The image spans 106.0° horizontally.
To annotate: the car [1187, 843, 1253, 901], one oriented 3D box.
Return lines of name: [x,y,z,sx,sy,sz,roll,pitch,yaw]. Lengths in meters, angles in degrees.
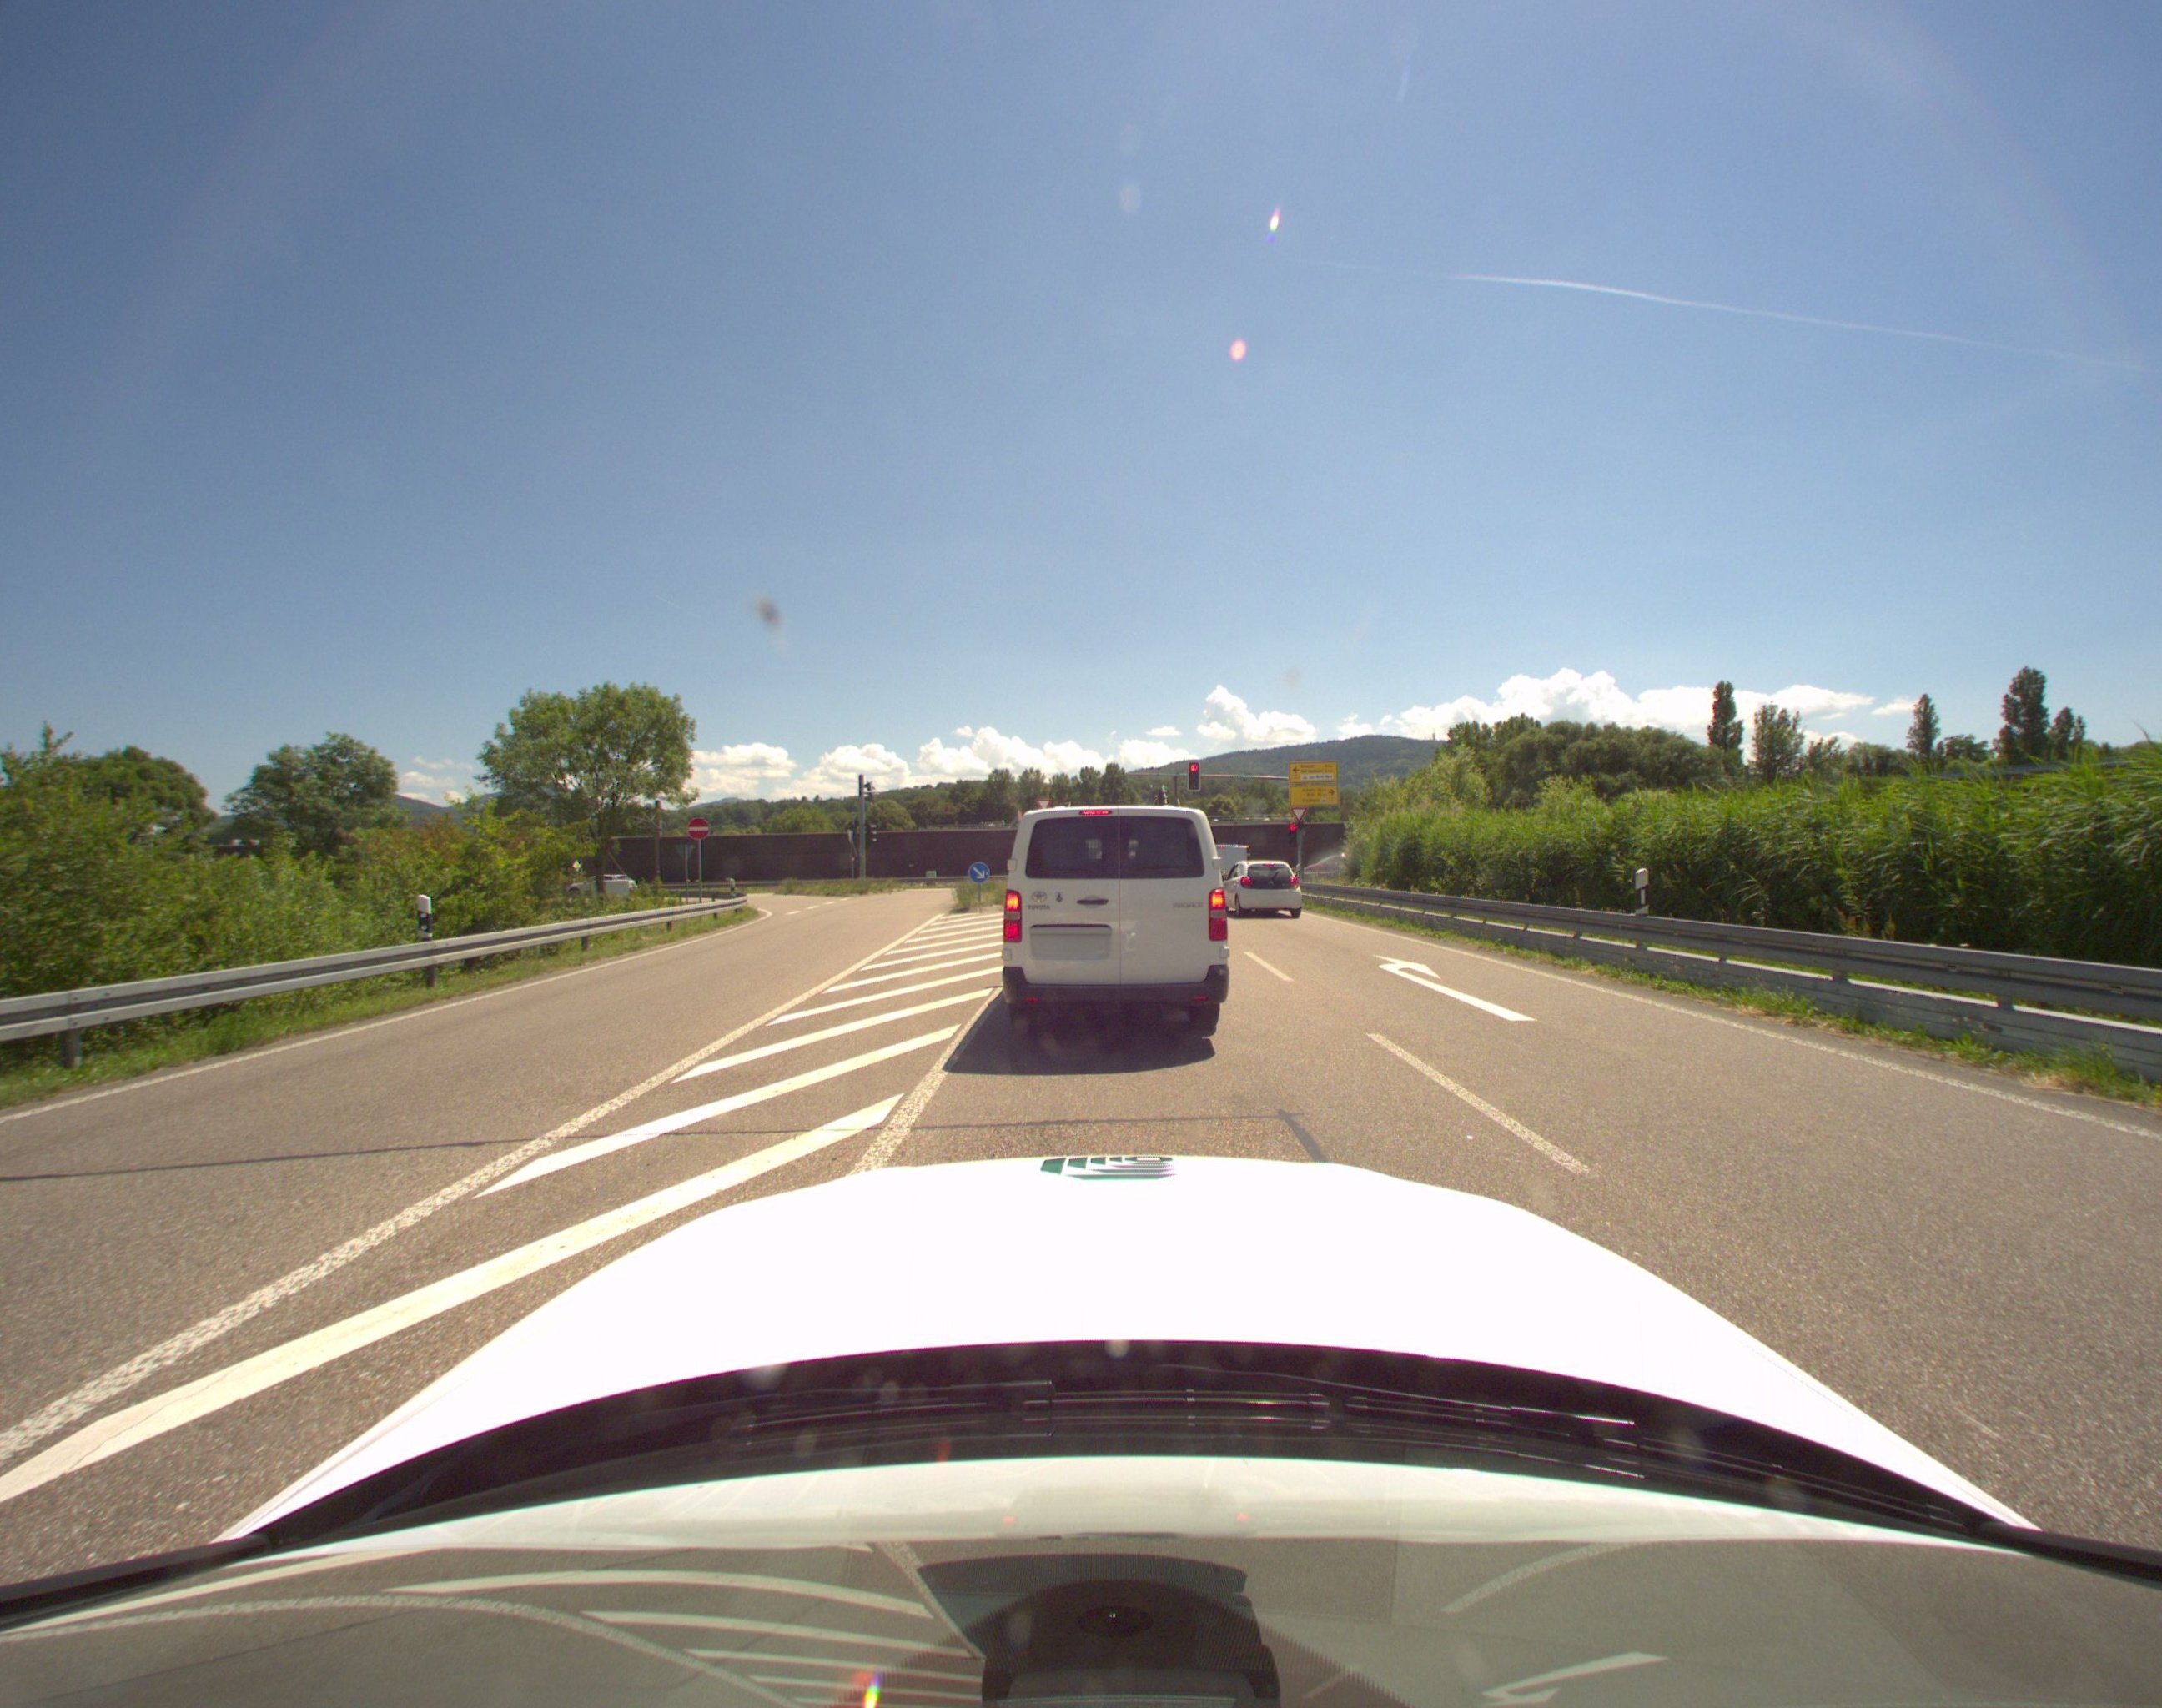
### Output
car: [5.129,0.648,30.636,1.920,2.000,4.842,0,-1,4]

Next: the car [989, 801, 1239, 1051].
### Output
car: [0.304,0.567,8.190,1.880,1.886,4.001,0,-1,1]

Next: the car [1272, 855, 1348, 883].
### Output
car: [14.567,0.940,52.003,4.298,1.656,1.999,-1,-1,-2]

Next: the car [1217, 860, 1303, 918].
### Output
car: [4.721,0.882,21.893,1.650,1.431,3.366,0,-1,1]

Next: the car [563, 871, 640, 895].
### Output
car: [-31.983,1.908,54.413,3.974,1.485,1.999,-1,-1,-1]
